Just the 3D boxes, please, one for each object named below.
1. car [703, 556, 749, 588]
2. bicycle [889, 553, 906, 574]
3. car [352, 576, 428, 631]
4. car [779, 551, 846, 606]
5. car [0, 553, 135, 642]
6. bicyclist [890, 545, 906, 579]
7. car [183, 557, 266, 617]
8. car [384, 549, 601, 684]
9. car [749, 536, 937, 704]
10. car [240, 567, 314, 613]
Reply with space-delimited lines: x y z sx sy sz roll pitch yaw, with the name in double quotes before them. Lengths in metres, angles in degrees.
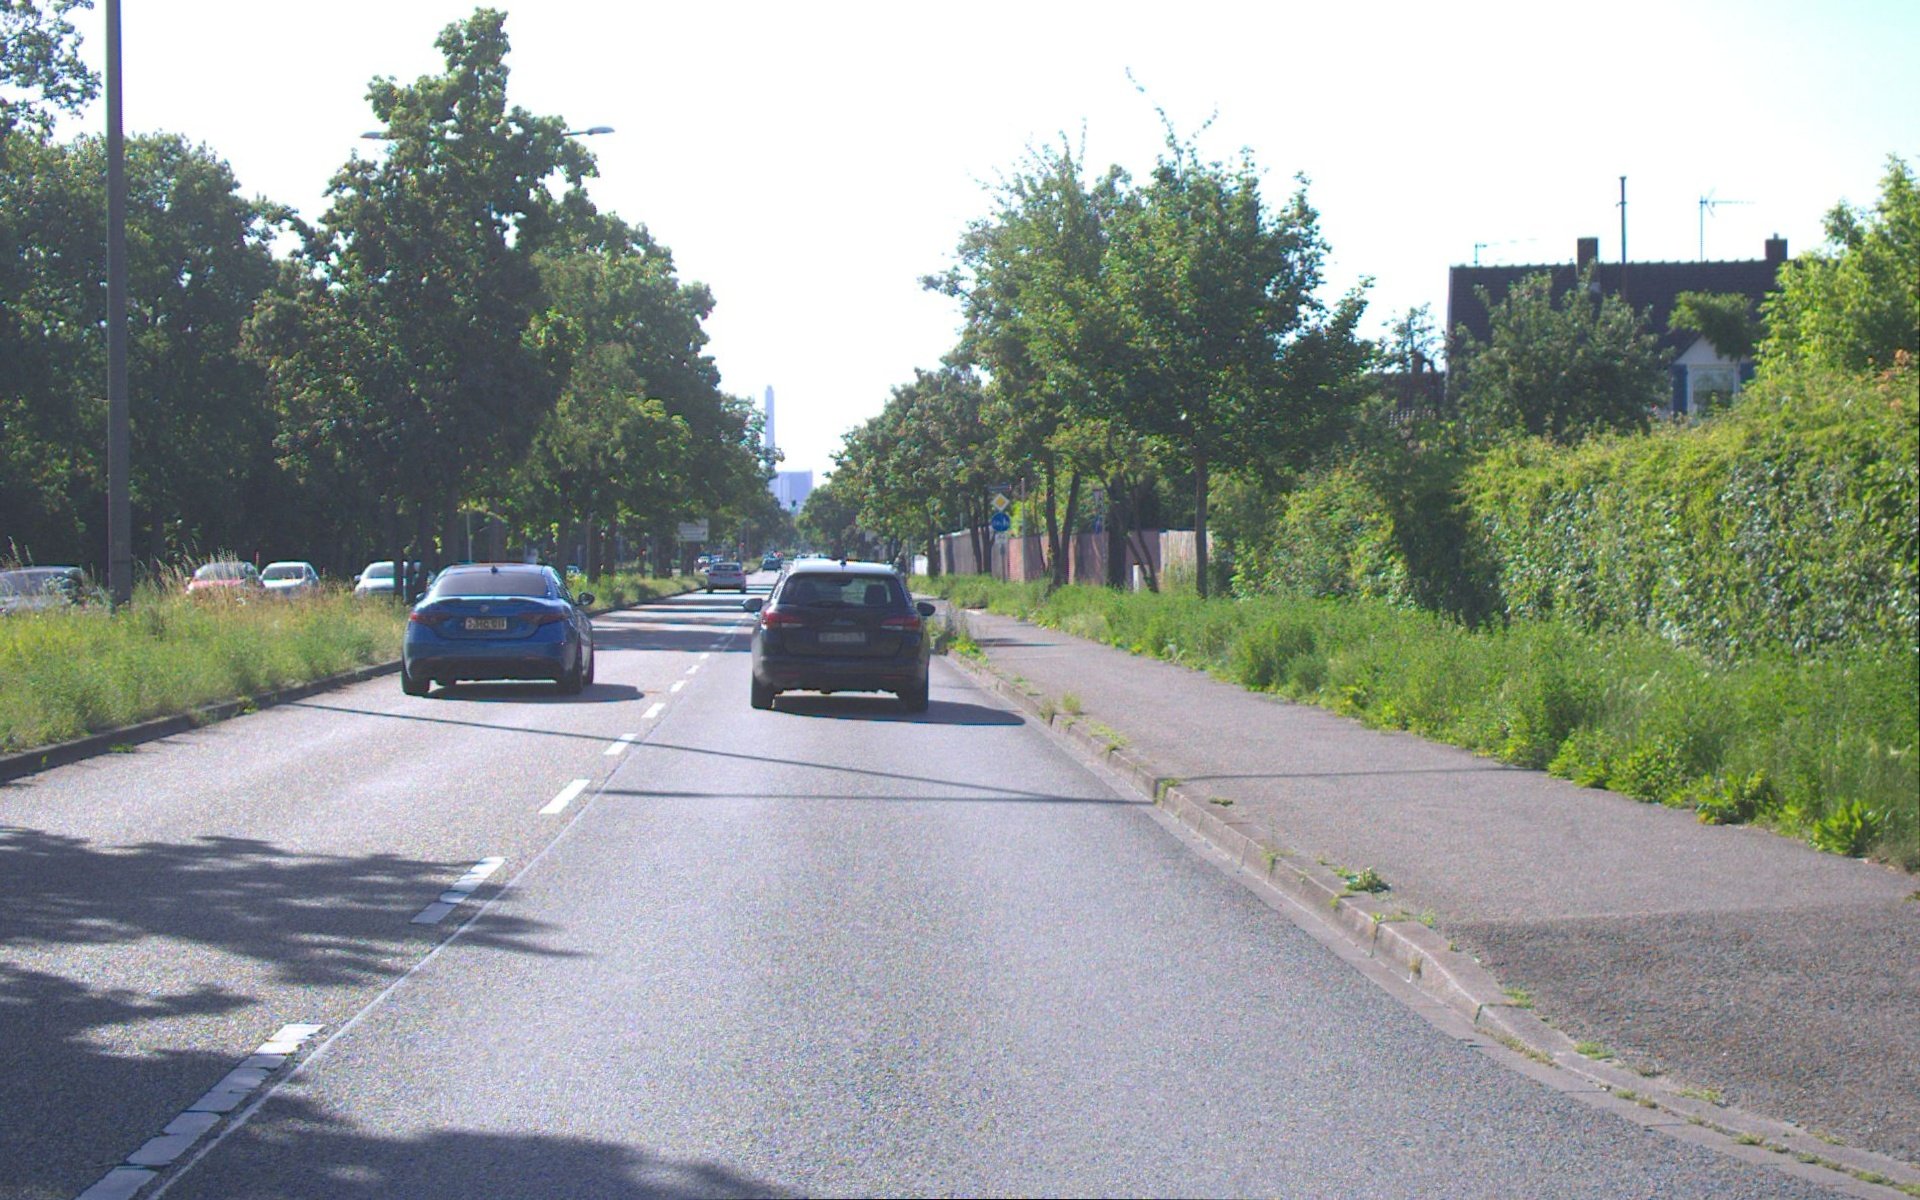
"car" -11.096 -1.353 162.857 1.978 1.435 4.001 0 2 -6
"bicycle" -2.670 -1.562 147.004 0.655 0.889 1.875 0 1 -3
"car" -17.030 0.097 102.854 1.713 1.597 4.359 0 1 -3
"car" -4.560 -0.683 105.625 1.743 1.592 4.176 0 1 -7
"car" -14.687 -0.073 55.564 1.781 1.356 4.980 0 1 -3
"bicyclist" -2.652 -1.628 147.160 0.680 1.414 0.812 0 1 -3
"car" -20.244 -0.376 94.729 1.604 1.557 4.001 -2 1 -4
"car" -5.110 0.146 38.025 1.994 1.400 4.001 0 1 -2
"car" -1.181 0.179 35.018 1.760 1.554 4.000 2 0 -2
"car" -21.789 -0.317 109.747 1.838 1.408 4.001 0 1 -4
